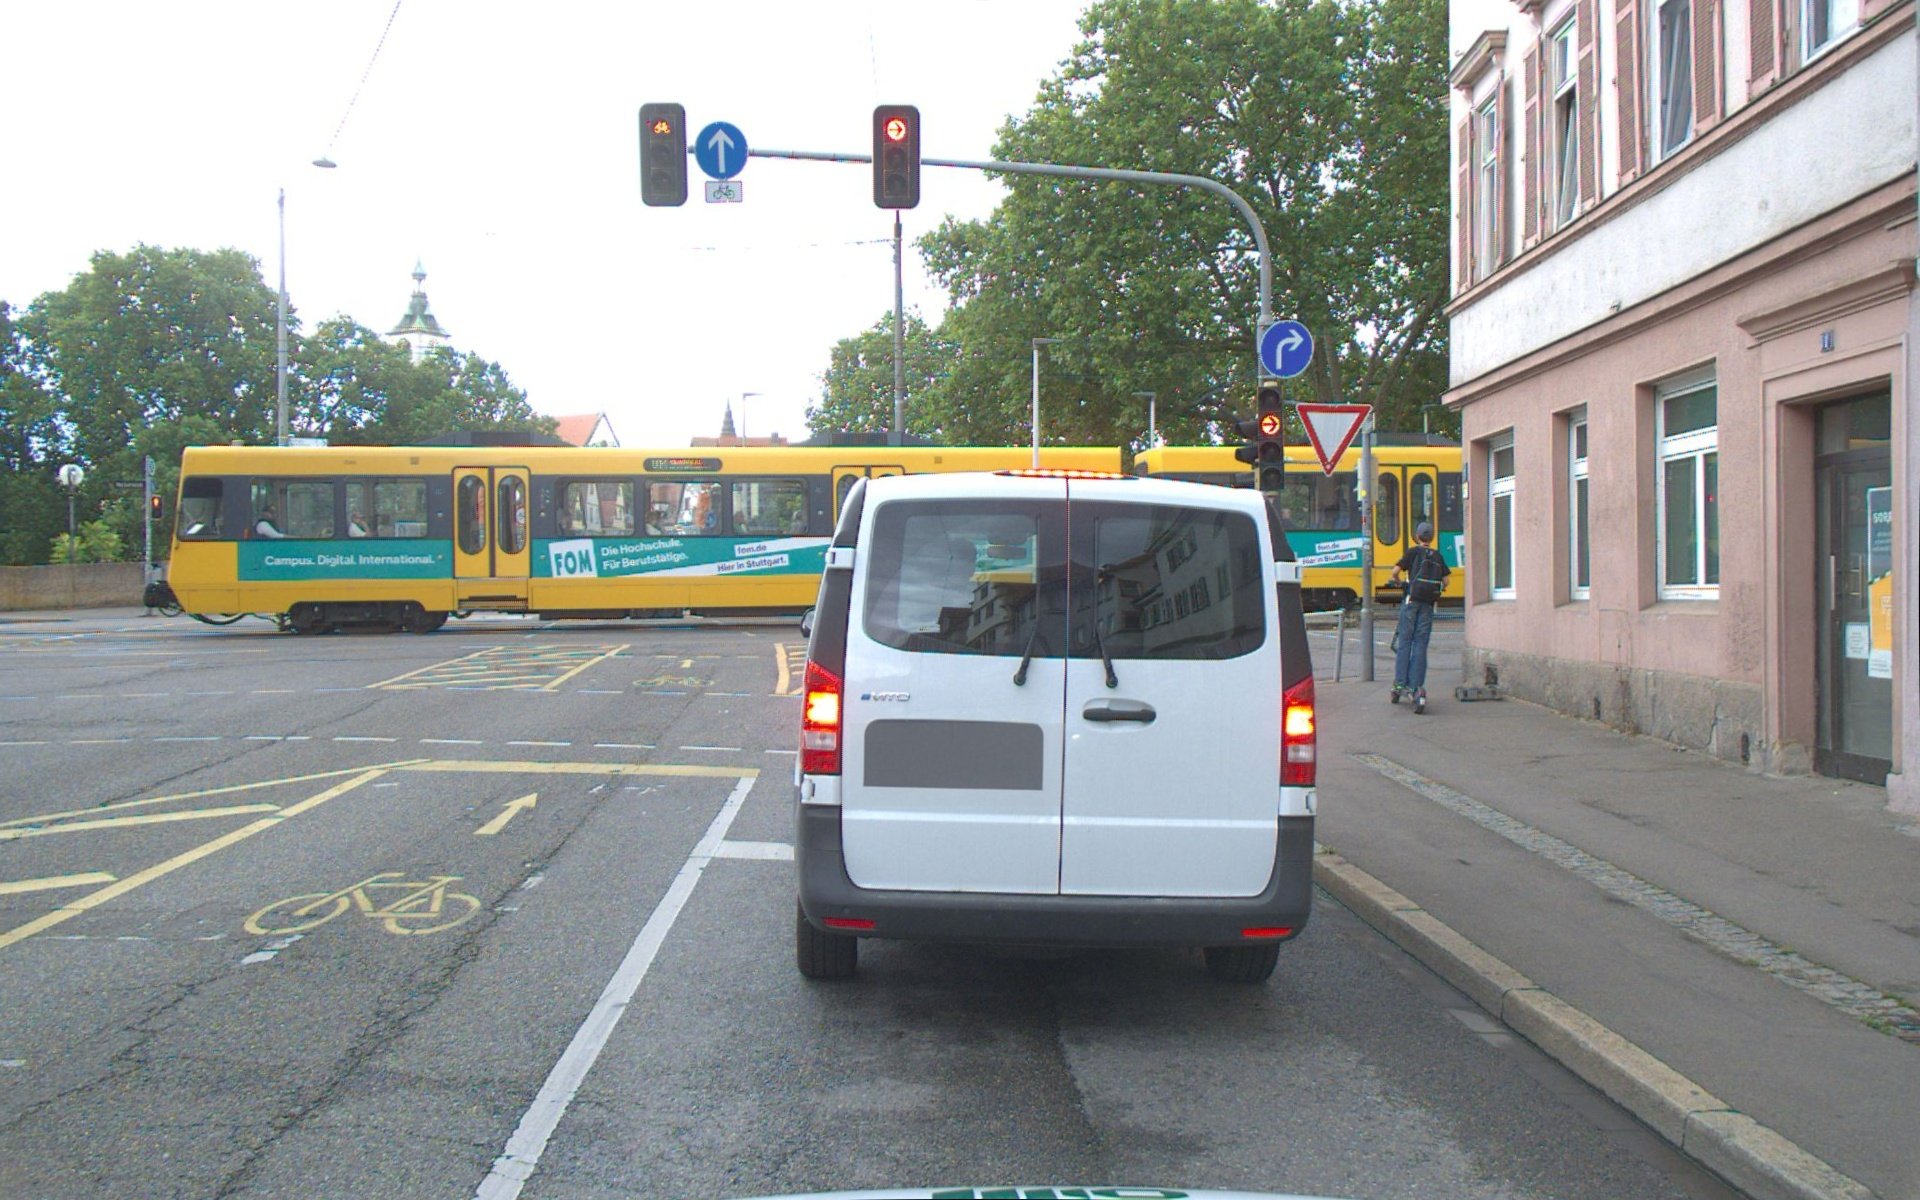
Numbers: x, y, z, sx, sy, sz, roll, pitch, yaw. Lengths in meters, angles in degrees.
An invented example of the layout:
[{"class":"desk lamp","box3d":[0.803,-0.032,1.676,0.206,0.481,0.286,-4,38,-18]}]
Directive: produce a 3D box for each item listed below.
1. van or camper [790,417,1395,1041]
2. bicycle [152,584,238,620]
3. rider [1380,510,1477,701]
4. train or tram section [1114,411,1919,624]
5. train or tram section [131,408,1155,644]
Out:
[{"class":"van or camper","box3d":[0.313,0.388,7.467,1.899,1.958,4.438,1,1,-3]},{"class":"bicycle","box3d":[-19.658,0.042,42.518,0.551,0.881,1.937,0,1,45]},{"class":"rider","box3d":[4.735,0.048,16.766,0.704,1.880,0.797,-1,0,-4]},{"class":"train or tram section","box3d":[12.671,-1.847,35.429,18.413,4.072,3.261,-1,3,-7]},{"class":"train or tram section","box3d":[-5.724,-1.581,32.822,18.869,4.072,3.303,-2,3,-9]}]
